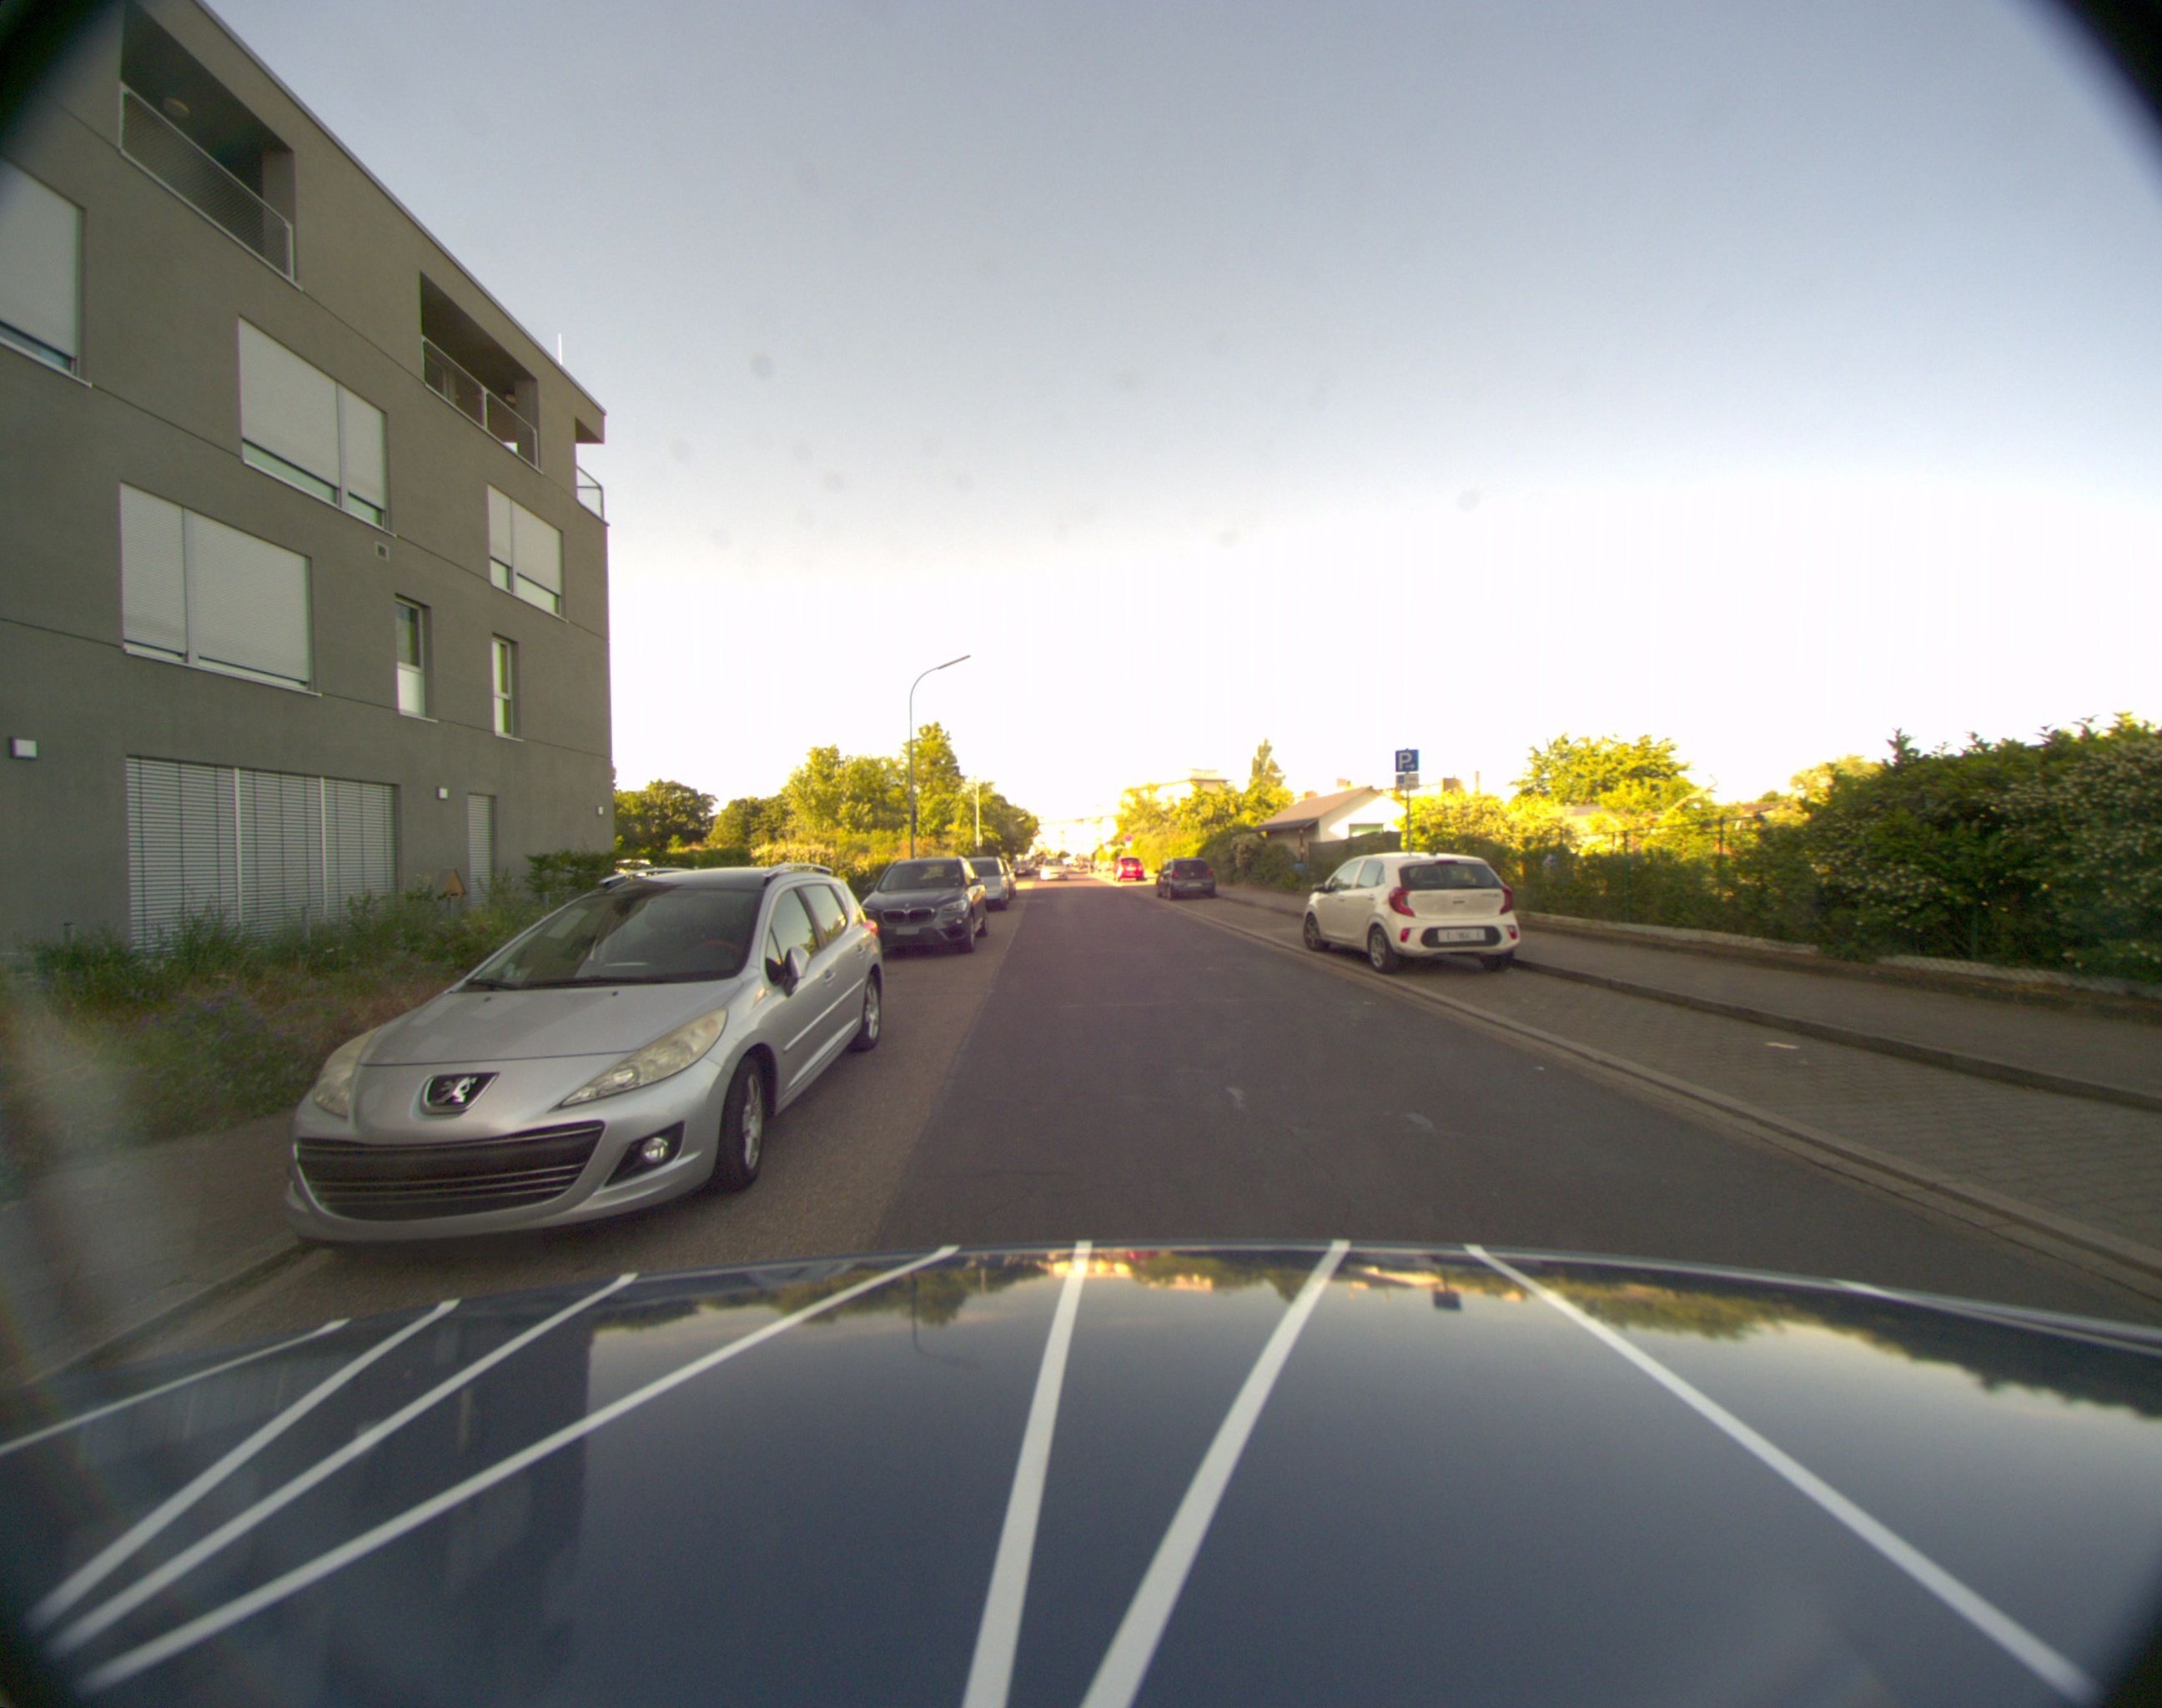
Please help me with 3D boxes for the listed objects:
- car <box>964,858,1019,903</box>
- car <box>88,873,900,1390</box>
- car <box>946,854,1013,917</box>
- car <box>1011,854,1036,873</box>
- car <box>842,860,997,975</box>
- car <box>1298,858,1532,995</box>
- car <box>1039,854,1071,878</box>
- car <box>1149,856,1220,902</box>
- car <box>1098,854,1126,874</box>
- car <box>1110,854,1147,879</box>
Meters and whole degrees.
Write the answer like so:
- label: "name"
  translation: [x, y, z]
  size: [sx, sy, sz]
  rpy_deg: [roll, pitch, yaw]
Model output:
- label: "car"
  translation: [-3.356, 0.959, 28.837]
  size: [1.711, 1.517, 3.092]
  rpy_deg: [-4, 0, -2]
- label: "car"
  translation: [-2.430, 0.972, 4.607]
  size: [1.711, 1.517, 4.154]
  rpy_deg: [-2, 0, -2]
- label: "car"
  translation: [-3.104, 0.900, 24.003]
  size: [1.711, 1.695, 4.348]
  rpy_deg: [-4, 0, -4]
- label: "car"
  translation: [-4.858, 0.787, 64.436]
  size: [1.873, 1.517, 4.154]
  rpy_deg: [-2, 0, -2]
- label: "car"
  translation: [-2.661, 0.961, 13.680]
  size: [1.749, 1.557, 4.802]
  rpy_deg: [-3, 0, -1]
- label: "car"
  translation: [4.276, 0.826, 10.308]
  size: [1.532, 1.479, 3.401]
  rpy_deg: [-2, 0, -3]
- label: "car"
  translation: [-1.704, 0.768, 49.071]
  size: [1.680, 1.440, 3.997]
  rpy_deg: [-1, 0, -7]
- label: "car"
  translation: [3.705, 0.856, 27.997]
  size: [1.700, 1.415, 4.515]
  rpy_deg: [-3, 0, -3]
- label: "car"
  translation: [2.239, 0.696, 55.779]
  size: [1.700, 1.361, 3.909]
  rpy_deg: [-1, 0, -3]
- label: "car"
  translation: [2.818, 0.737, 45.947]
  size: [1.700, 1.421, 4.384]
  rpy_deg: [-1, 0, -3]
